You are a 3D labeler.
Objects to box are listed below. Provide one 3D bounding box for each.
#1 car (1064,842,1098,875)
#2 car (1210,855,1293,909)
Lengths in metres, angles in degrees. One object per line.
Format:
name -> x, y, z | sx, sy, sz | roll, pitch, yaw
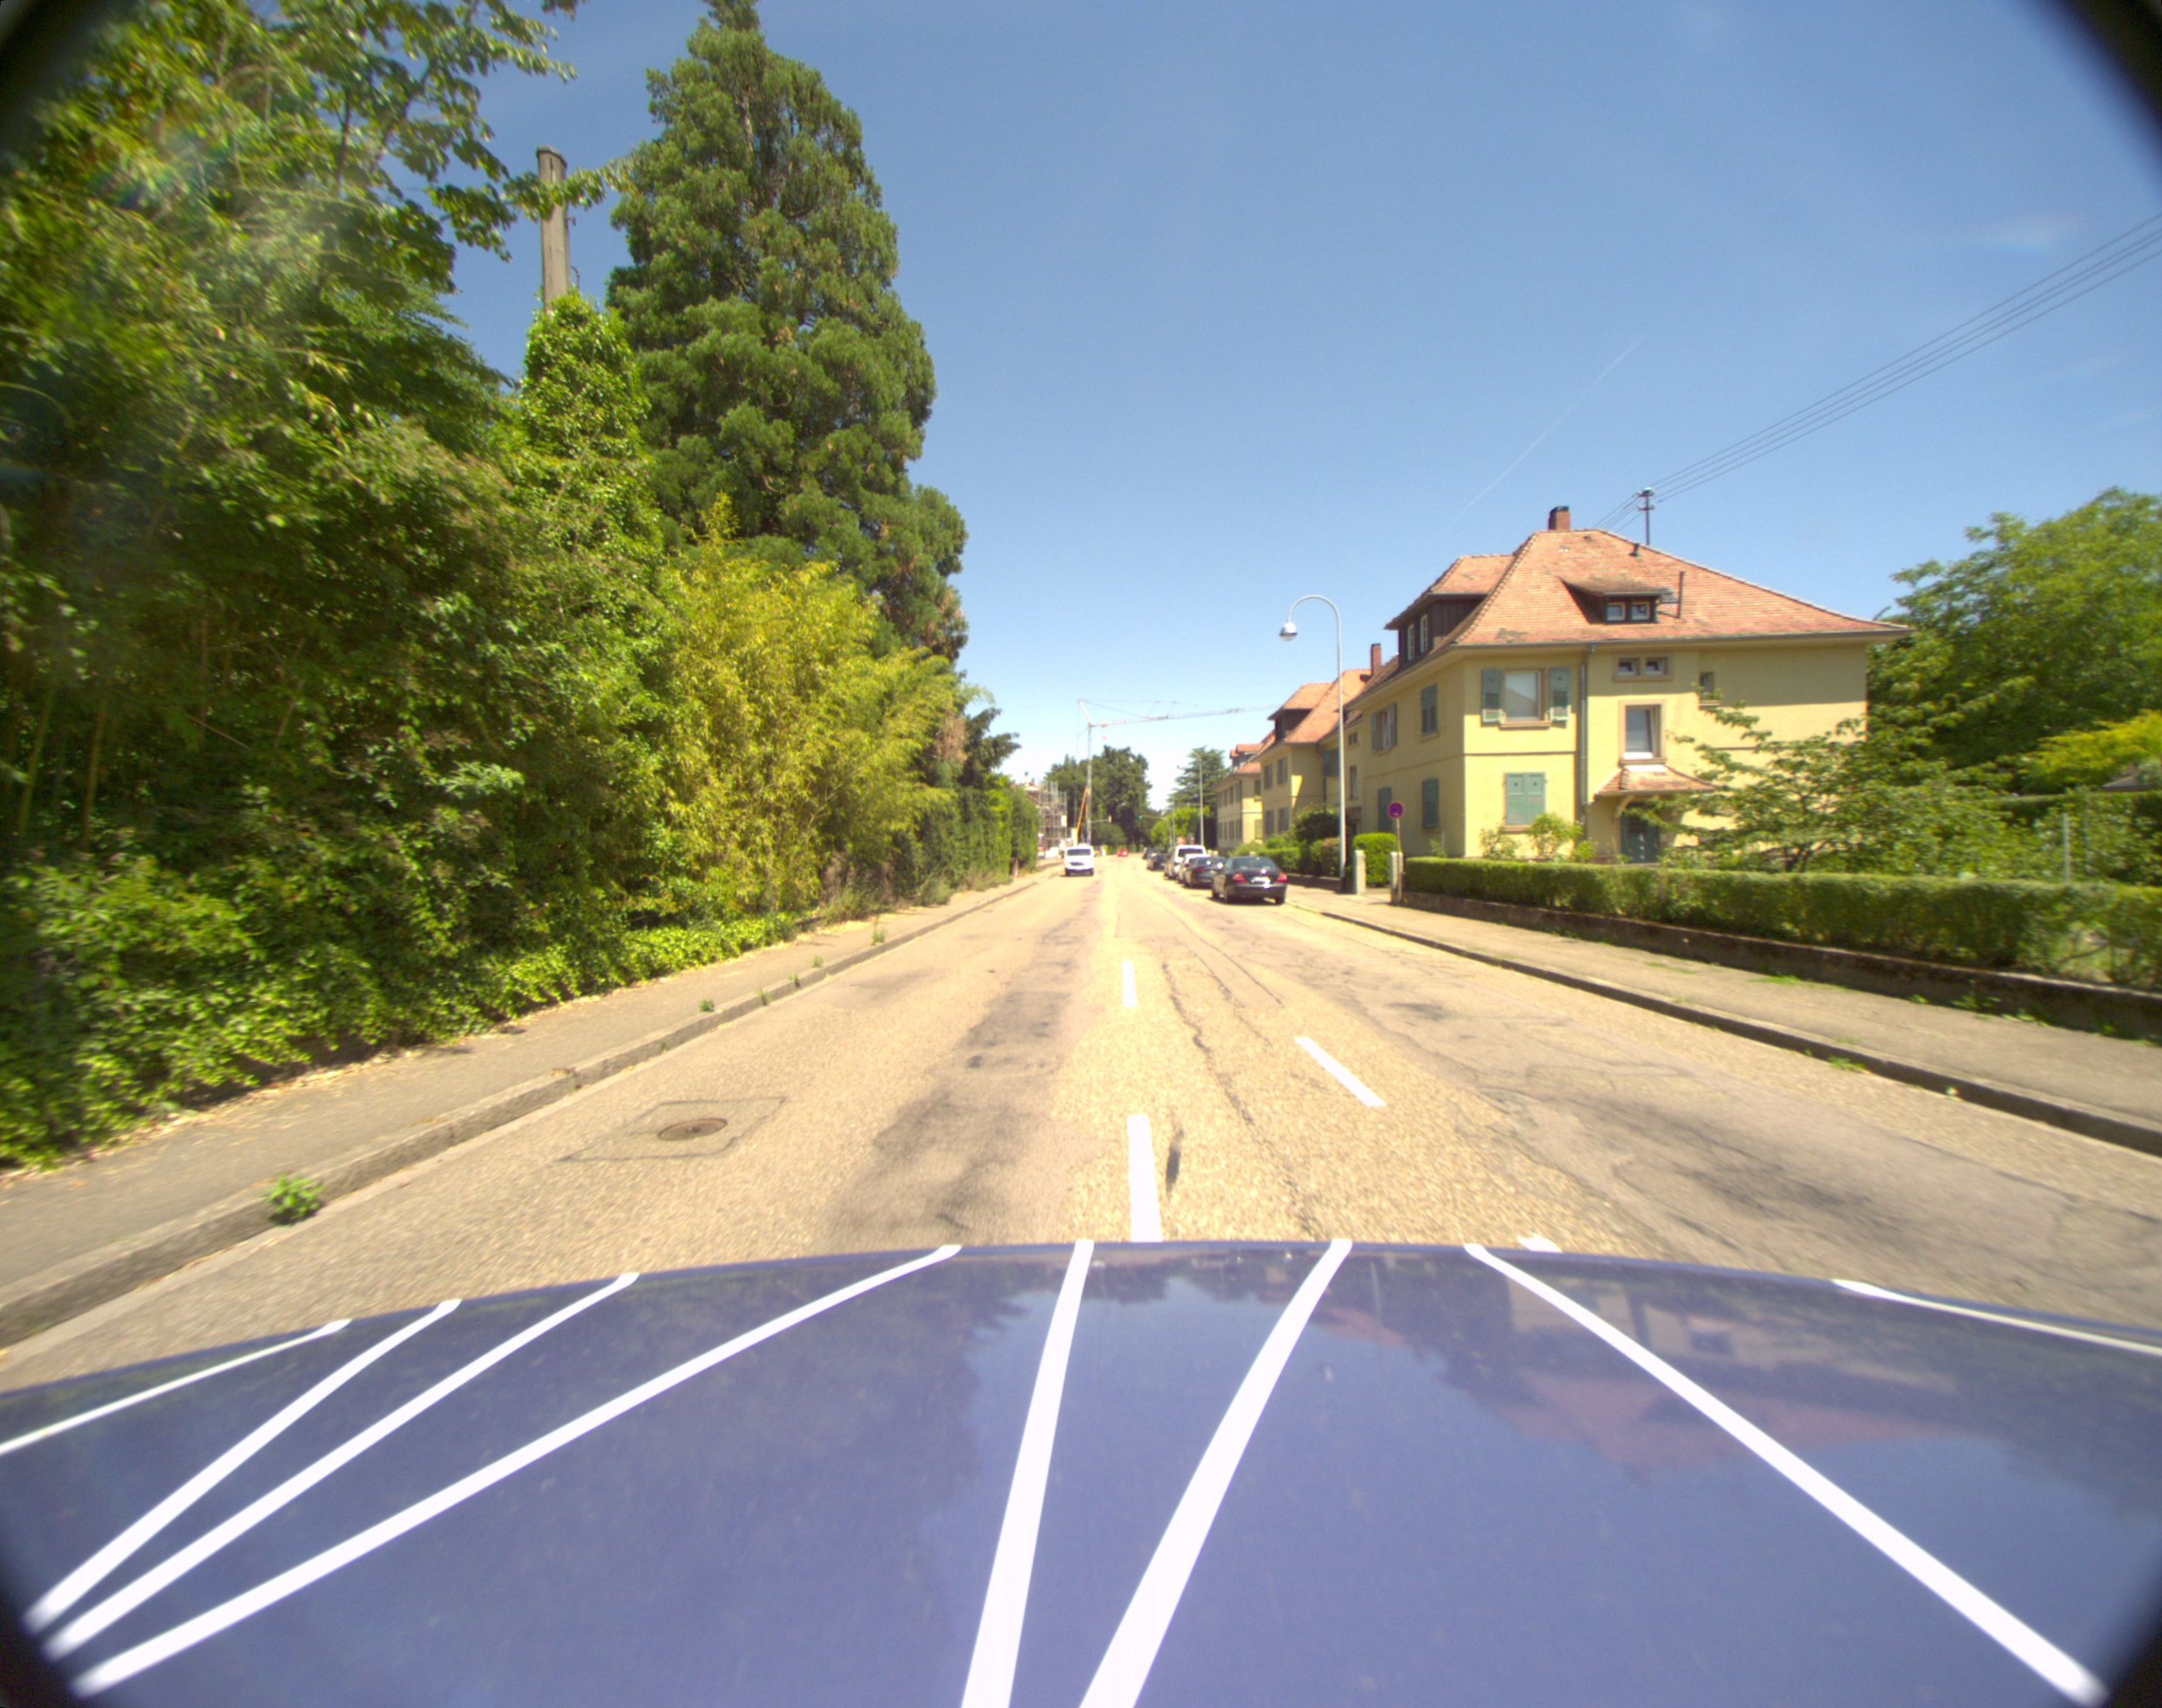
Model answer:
car -> 0.047, 0.260, 51.119 | 1.998, 2.002, 4.387 | -2, 1, 3
car -> 5.052, 0.773, 23.000 | 1.753, 1.390, 4.000 | 1, 1, 2
